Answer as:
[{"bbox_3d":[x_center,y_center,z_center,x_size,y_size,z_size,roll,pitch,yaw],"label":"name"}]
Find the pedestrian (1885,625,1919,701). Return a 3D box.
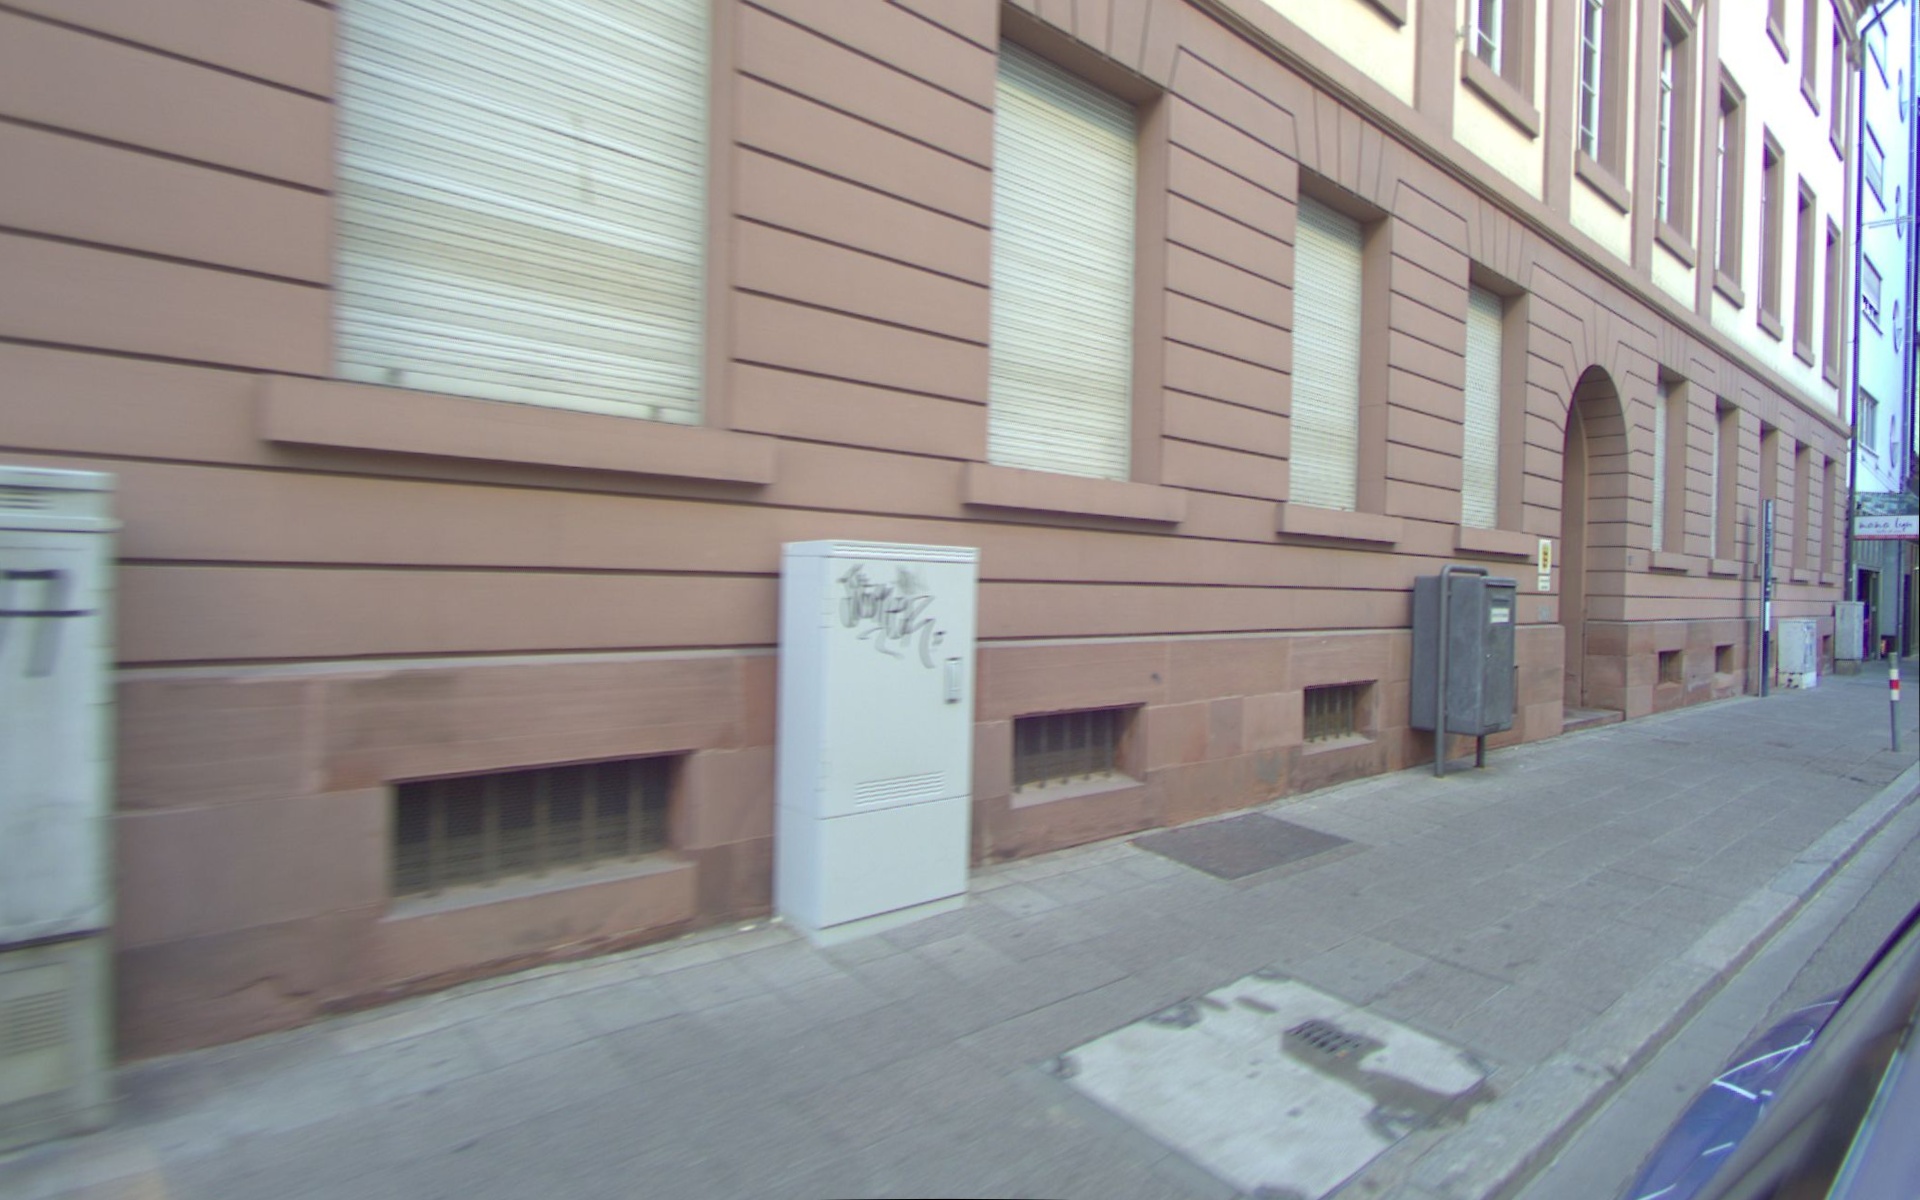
[{"bbox_3d":[23.173,1.525,24.831,0.638,1.794,0.592,2,1,44],"label":"pedestrian"}]
